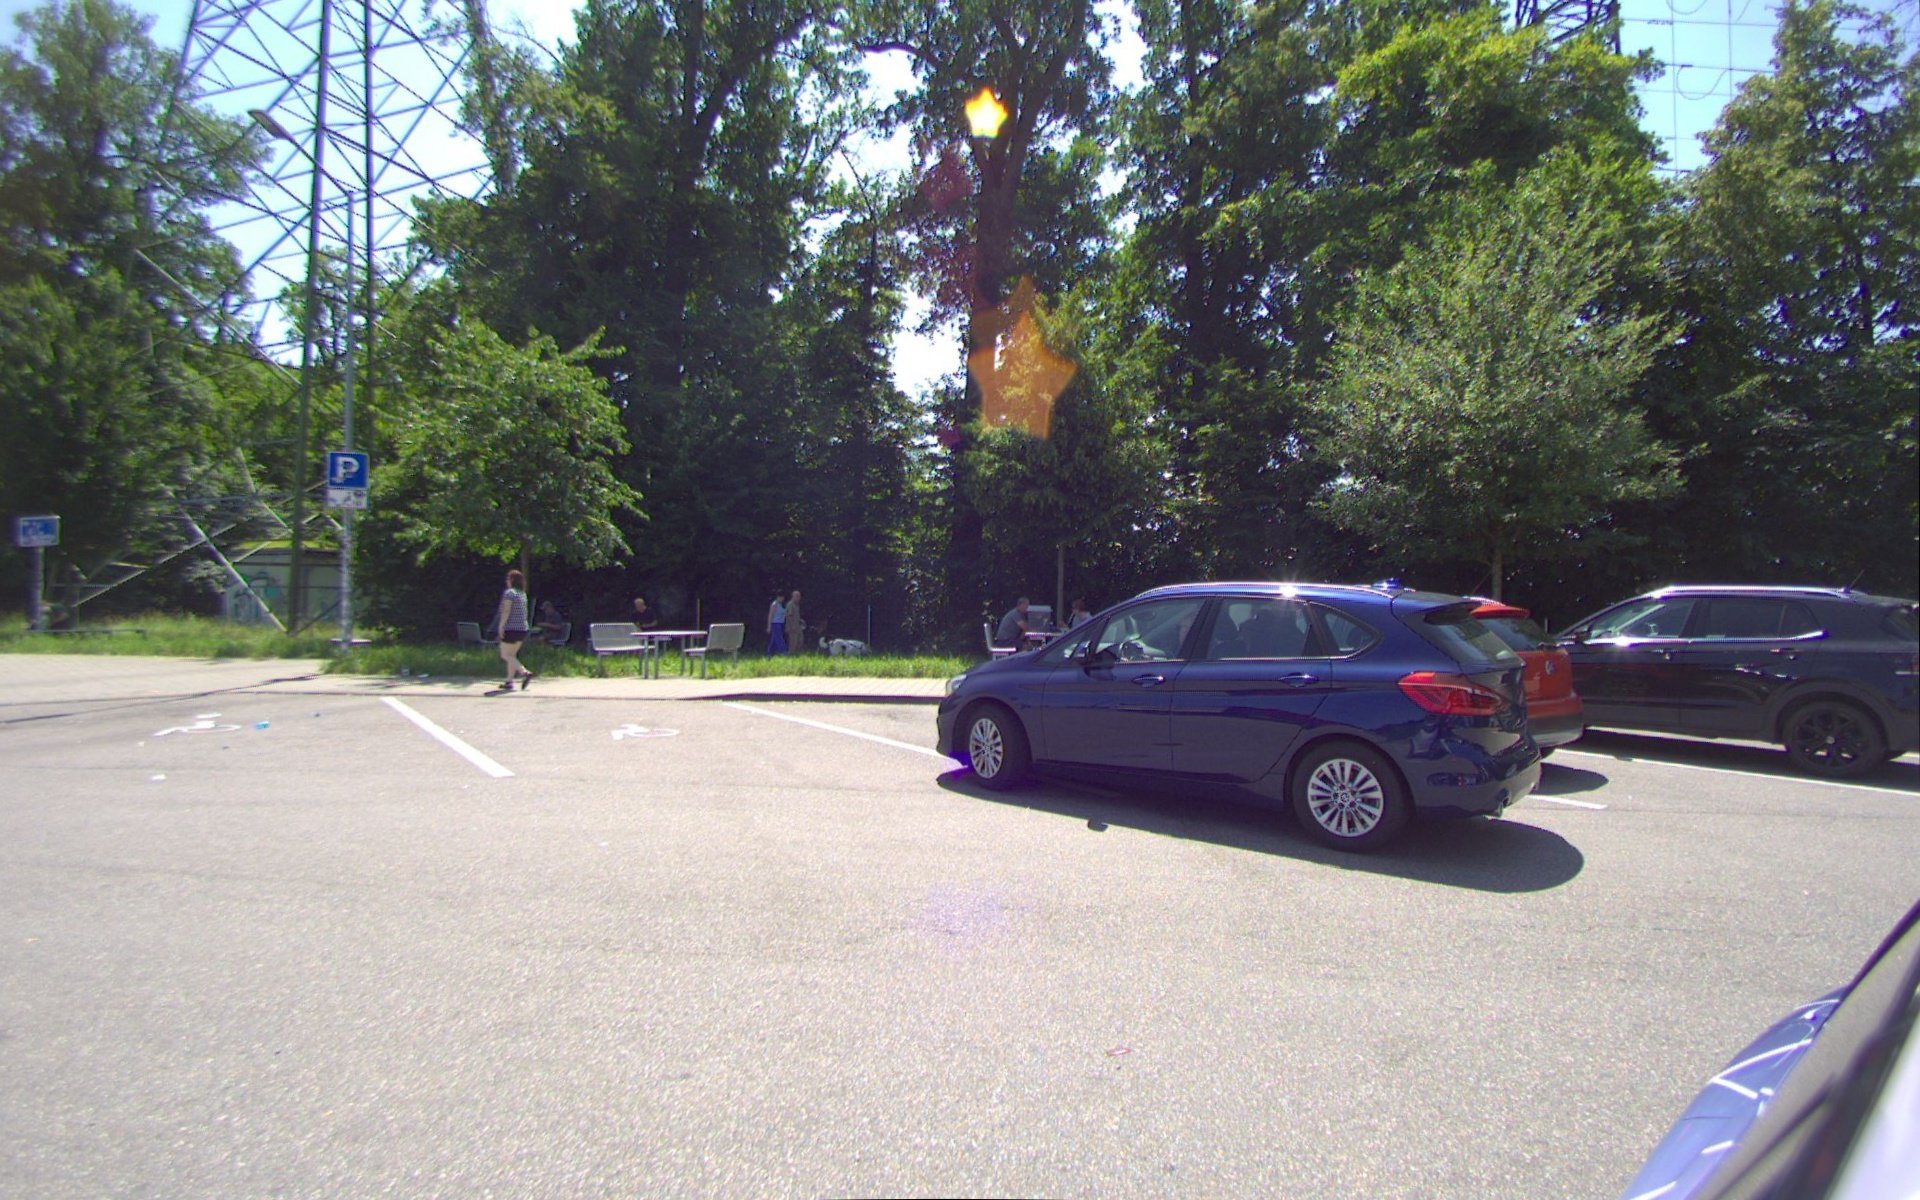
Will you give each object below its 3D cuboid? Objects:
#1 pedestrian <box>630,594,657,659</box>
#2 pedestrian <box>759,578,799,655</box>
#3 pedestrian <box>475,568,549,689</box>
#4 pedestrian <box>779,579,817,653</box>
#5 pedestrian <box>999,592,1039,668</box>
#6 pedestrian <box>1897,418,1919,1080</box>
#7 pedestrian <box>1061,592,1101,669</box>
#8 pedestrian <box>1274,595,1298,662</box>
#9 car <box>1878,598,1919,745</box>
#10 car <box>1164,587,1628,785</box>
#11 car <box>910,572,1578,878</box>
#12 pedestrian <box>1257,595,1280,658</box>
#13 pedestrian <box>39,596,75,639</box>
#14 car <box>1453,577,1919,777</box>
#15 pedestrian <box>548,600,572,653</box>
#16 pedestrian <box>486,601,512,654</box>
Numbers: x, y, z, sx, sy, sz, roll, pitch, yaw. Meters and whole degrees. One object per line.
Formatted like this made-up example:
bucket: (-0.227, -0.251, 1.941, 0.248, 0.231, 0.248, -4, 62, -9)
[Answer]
pedestrian: (-6.674, 0.548, 21.358, 0.438, 1.363, 0.462, 0, 0, -5)
pedestrian: (-3.937, 0.345, 22.008, 0.636, 1.625, 0.571, 0, 0, -43)
pedestrian: (-6.346, 0.386, 14.365, 0.703, 1.670, 0.686, 0, 0, 8)
pedestrian: (-3.626, 0.337, 22.648, 0.636, 1.625, 0.571, 0, 0, -43)
pedestrian: (1.002, 0.497, 17.125, 0.586, 1.261, 0.445, 0, 0, 16)
pedestrian: (3.072, 0.451, 2.563, 0.807, 1.974, 0.911, 0, 0, 29)
pedestrian: (2.016, 0.494, 16.869, 0.586, 1.261, 0.498, 0, 0, 16)
pedestrian: (5.783, 0.504, 17.963, 0.350, 1.180, 0.384, 0, 0, 8)
car: (10.910, 0.701, 9.023, 1.620, 1.420, 3.826, 0, 0, -37)
car: (3.894, 0.633, 9.661, 1.619, 1.487, 3.830, 0, 0, -33)
car: (1.788, 0.599, 7.276, 4.326, 1.572, 1.722, 1, 1, 41)
pedestrian: (5.832, 0.492, 19.139, 0.350, 1.180, 0.384, 0, 0, 8)
pedestrian: (-20.939, 0.402, 23.469, 0.452, 0.987, 0.447, 0, 0, -2)
car: (7.110, 0.591, 9.878, 1.620, 1.575, 3.826, 0, 0, -37)
pedestrian: (-9.332, 0.618, 23.611, 0.452, 1.209, 0.447, 0, 0, -34)
pedestrian: (-10.421, 0.617, 22.870, 0.452, 1.182, 0.447, 0, 0, -34)
